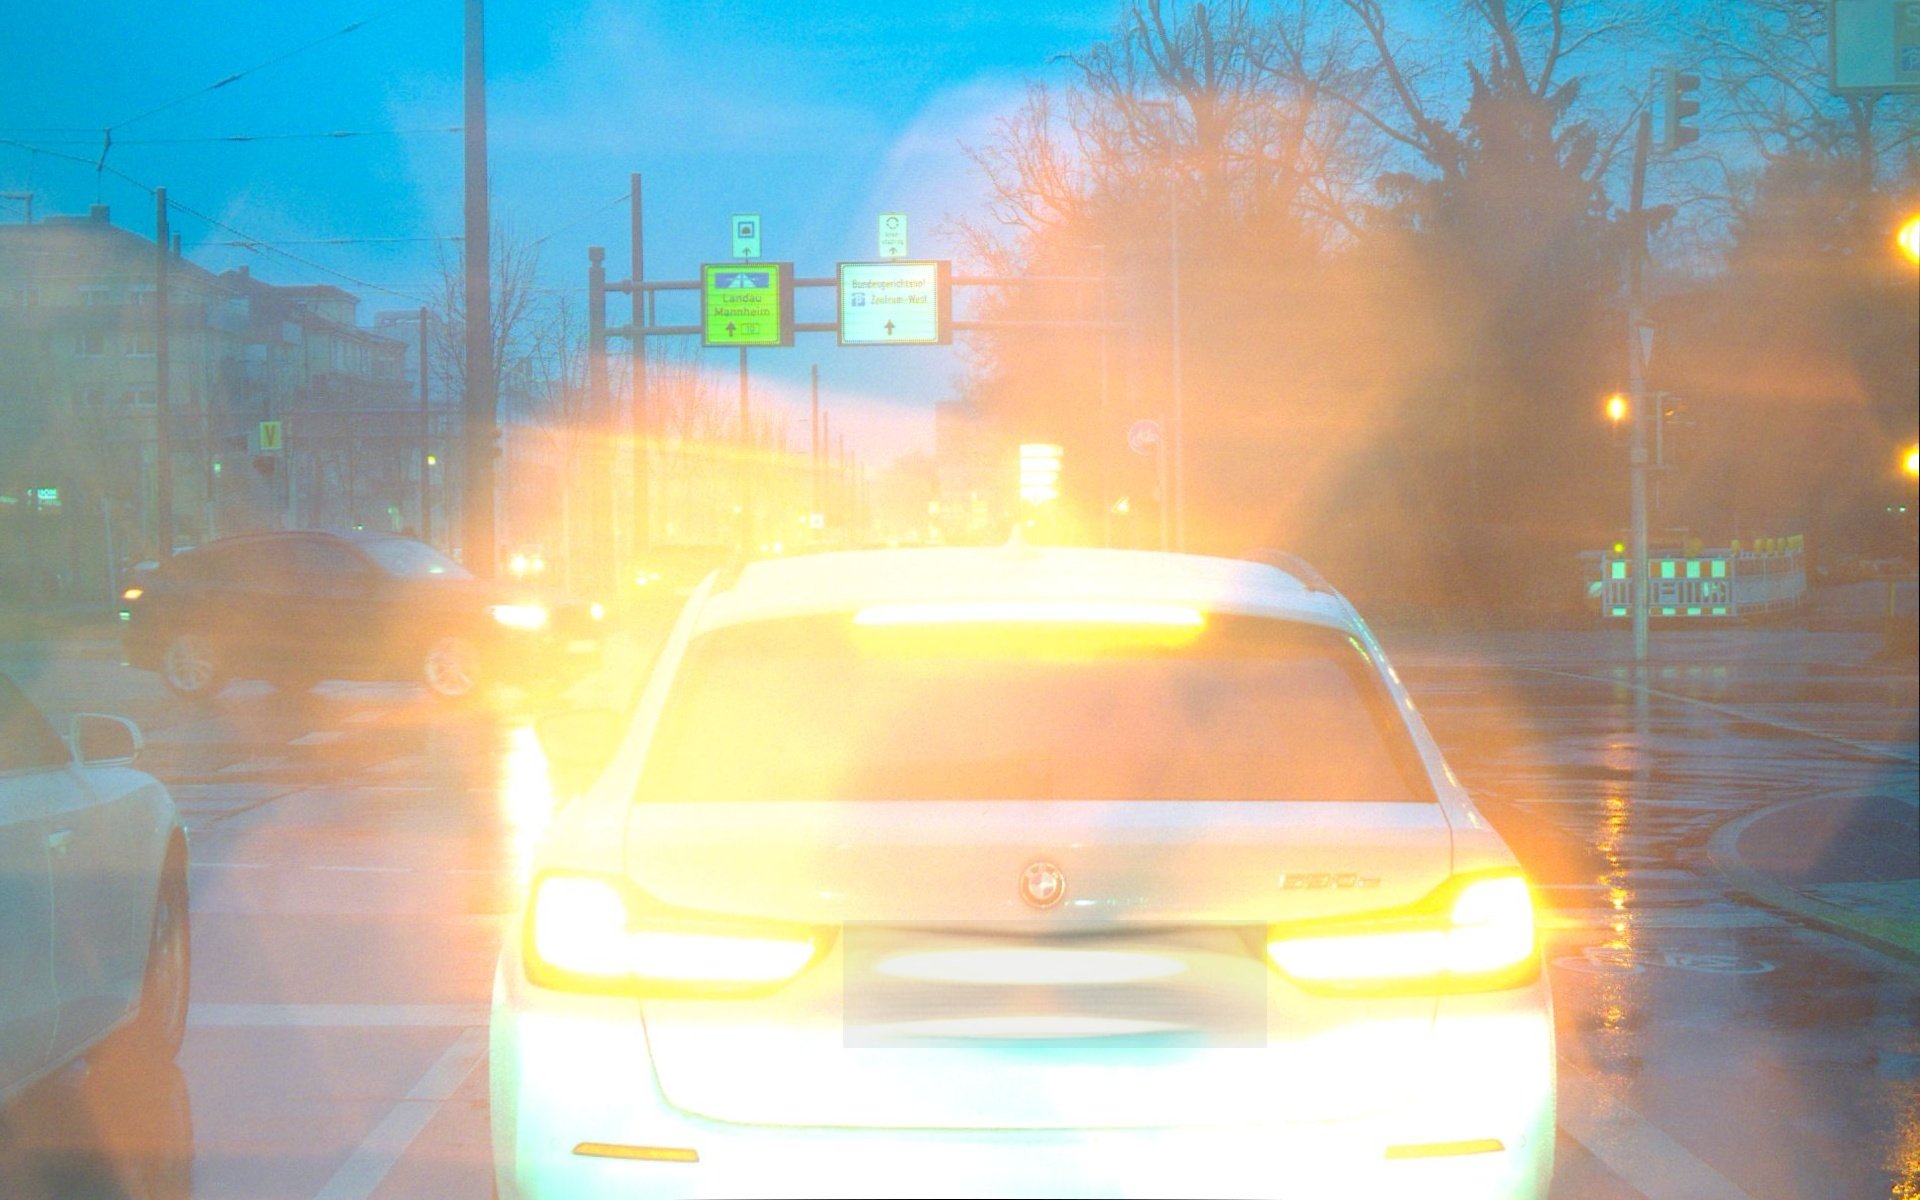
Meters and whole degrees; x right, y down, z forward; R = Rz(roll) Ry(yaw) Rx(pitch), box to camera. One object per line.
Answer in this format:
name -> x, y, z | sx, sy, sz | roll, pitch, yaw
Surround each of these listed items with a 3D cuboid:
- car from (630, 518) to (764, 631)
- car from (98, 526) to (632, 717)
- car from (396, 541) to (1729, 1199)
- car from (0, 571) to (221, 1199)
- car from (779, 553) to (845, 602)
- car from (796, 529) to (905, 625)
car -> -3.919, -0.380, 51.766 | 1.843, 1.603, 3.945 | 1, 0, -2
car -> -5.643, 0.185, 32.617 | 4.701, 1.714, 1.899 | 0, 0, 22
car -> 0.066, 0.615, 7.324 | 1.993, 1.451, 4.369 | 0, 1, -3
car -> -3.098, 0.694, 7.979 | 1.993, 1.451, 4.369 | 0, 1, -3
car -> -4.572, -0.707, 106.399 | 1.993, 1.451, 4.369 | 0, 1, -3
car -> -1.935, -0.396, 60.353 | 1.843, 1.603, 3.945 | 1, 0, -2
